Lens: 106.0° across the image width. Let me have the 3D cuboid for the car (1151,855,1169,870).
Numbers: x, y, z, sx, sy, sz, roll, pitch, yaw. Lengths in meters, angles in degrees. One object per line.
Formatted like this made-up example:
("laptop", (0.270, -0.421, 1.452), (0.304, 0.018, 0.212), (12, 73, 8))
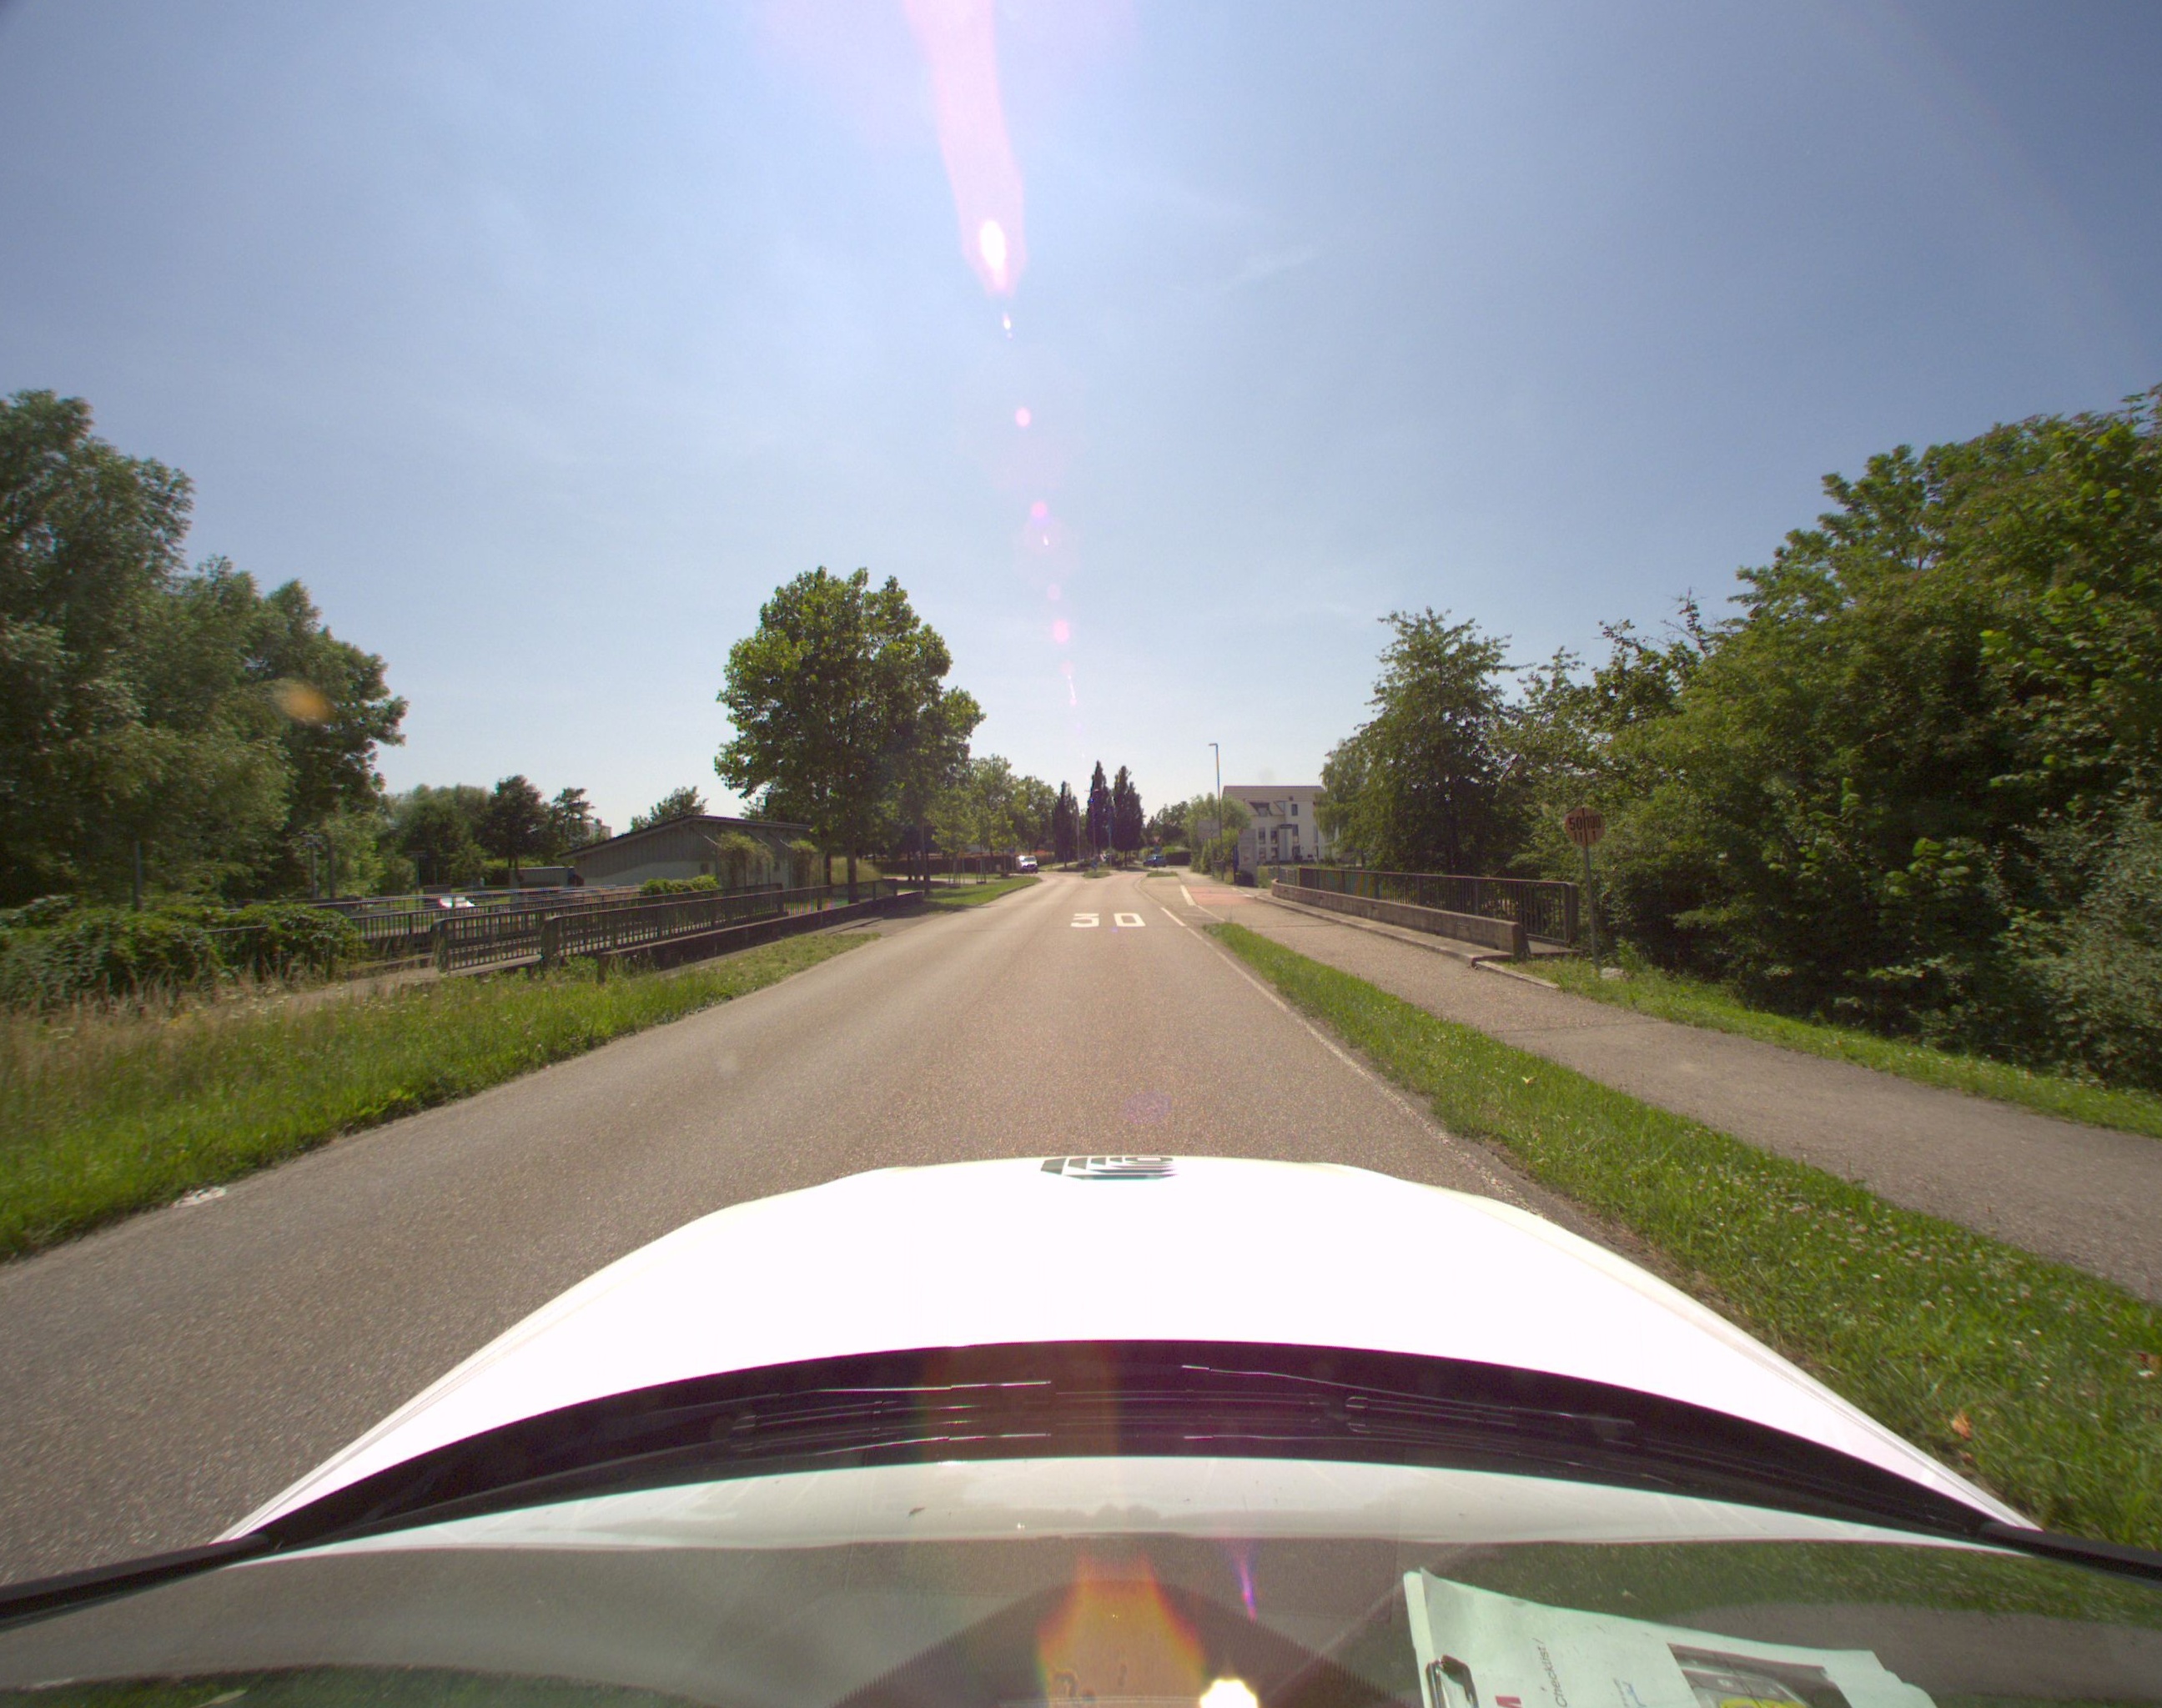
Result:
("car", (9.908, 1.036, 102.424), (1.916, 1.886, 4.001), (0, -1, 1))

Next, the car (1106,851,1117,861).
("car", (5.903, 0.383, 156.893), (1.985, 1.770, 4.001), (0, -4, 3))

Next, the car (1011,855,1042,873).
("car", (-6.188, 1.121, 91.920), (2.136, 2.014, 5.111), (0, -1, -22))

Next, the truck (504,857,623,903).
("truck", (-27.526, 1.320, 43.616), (2.976, 2.216, 5.173), (-1, 0, 1))
